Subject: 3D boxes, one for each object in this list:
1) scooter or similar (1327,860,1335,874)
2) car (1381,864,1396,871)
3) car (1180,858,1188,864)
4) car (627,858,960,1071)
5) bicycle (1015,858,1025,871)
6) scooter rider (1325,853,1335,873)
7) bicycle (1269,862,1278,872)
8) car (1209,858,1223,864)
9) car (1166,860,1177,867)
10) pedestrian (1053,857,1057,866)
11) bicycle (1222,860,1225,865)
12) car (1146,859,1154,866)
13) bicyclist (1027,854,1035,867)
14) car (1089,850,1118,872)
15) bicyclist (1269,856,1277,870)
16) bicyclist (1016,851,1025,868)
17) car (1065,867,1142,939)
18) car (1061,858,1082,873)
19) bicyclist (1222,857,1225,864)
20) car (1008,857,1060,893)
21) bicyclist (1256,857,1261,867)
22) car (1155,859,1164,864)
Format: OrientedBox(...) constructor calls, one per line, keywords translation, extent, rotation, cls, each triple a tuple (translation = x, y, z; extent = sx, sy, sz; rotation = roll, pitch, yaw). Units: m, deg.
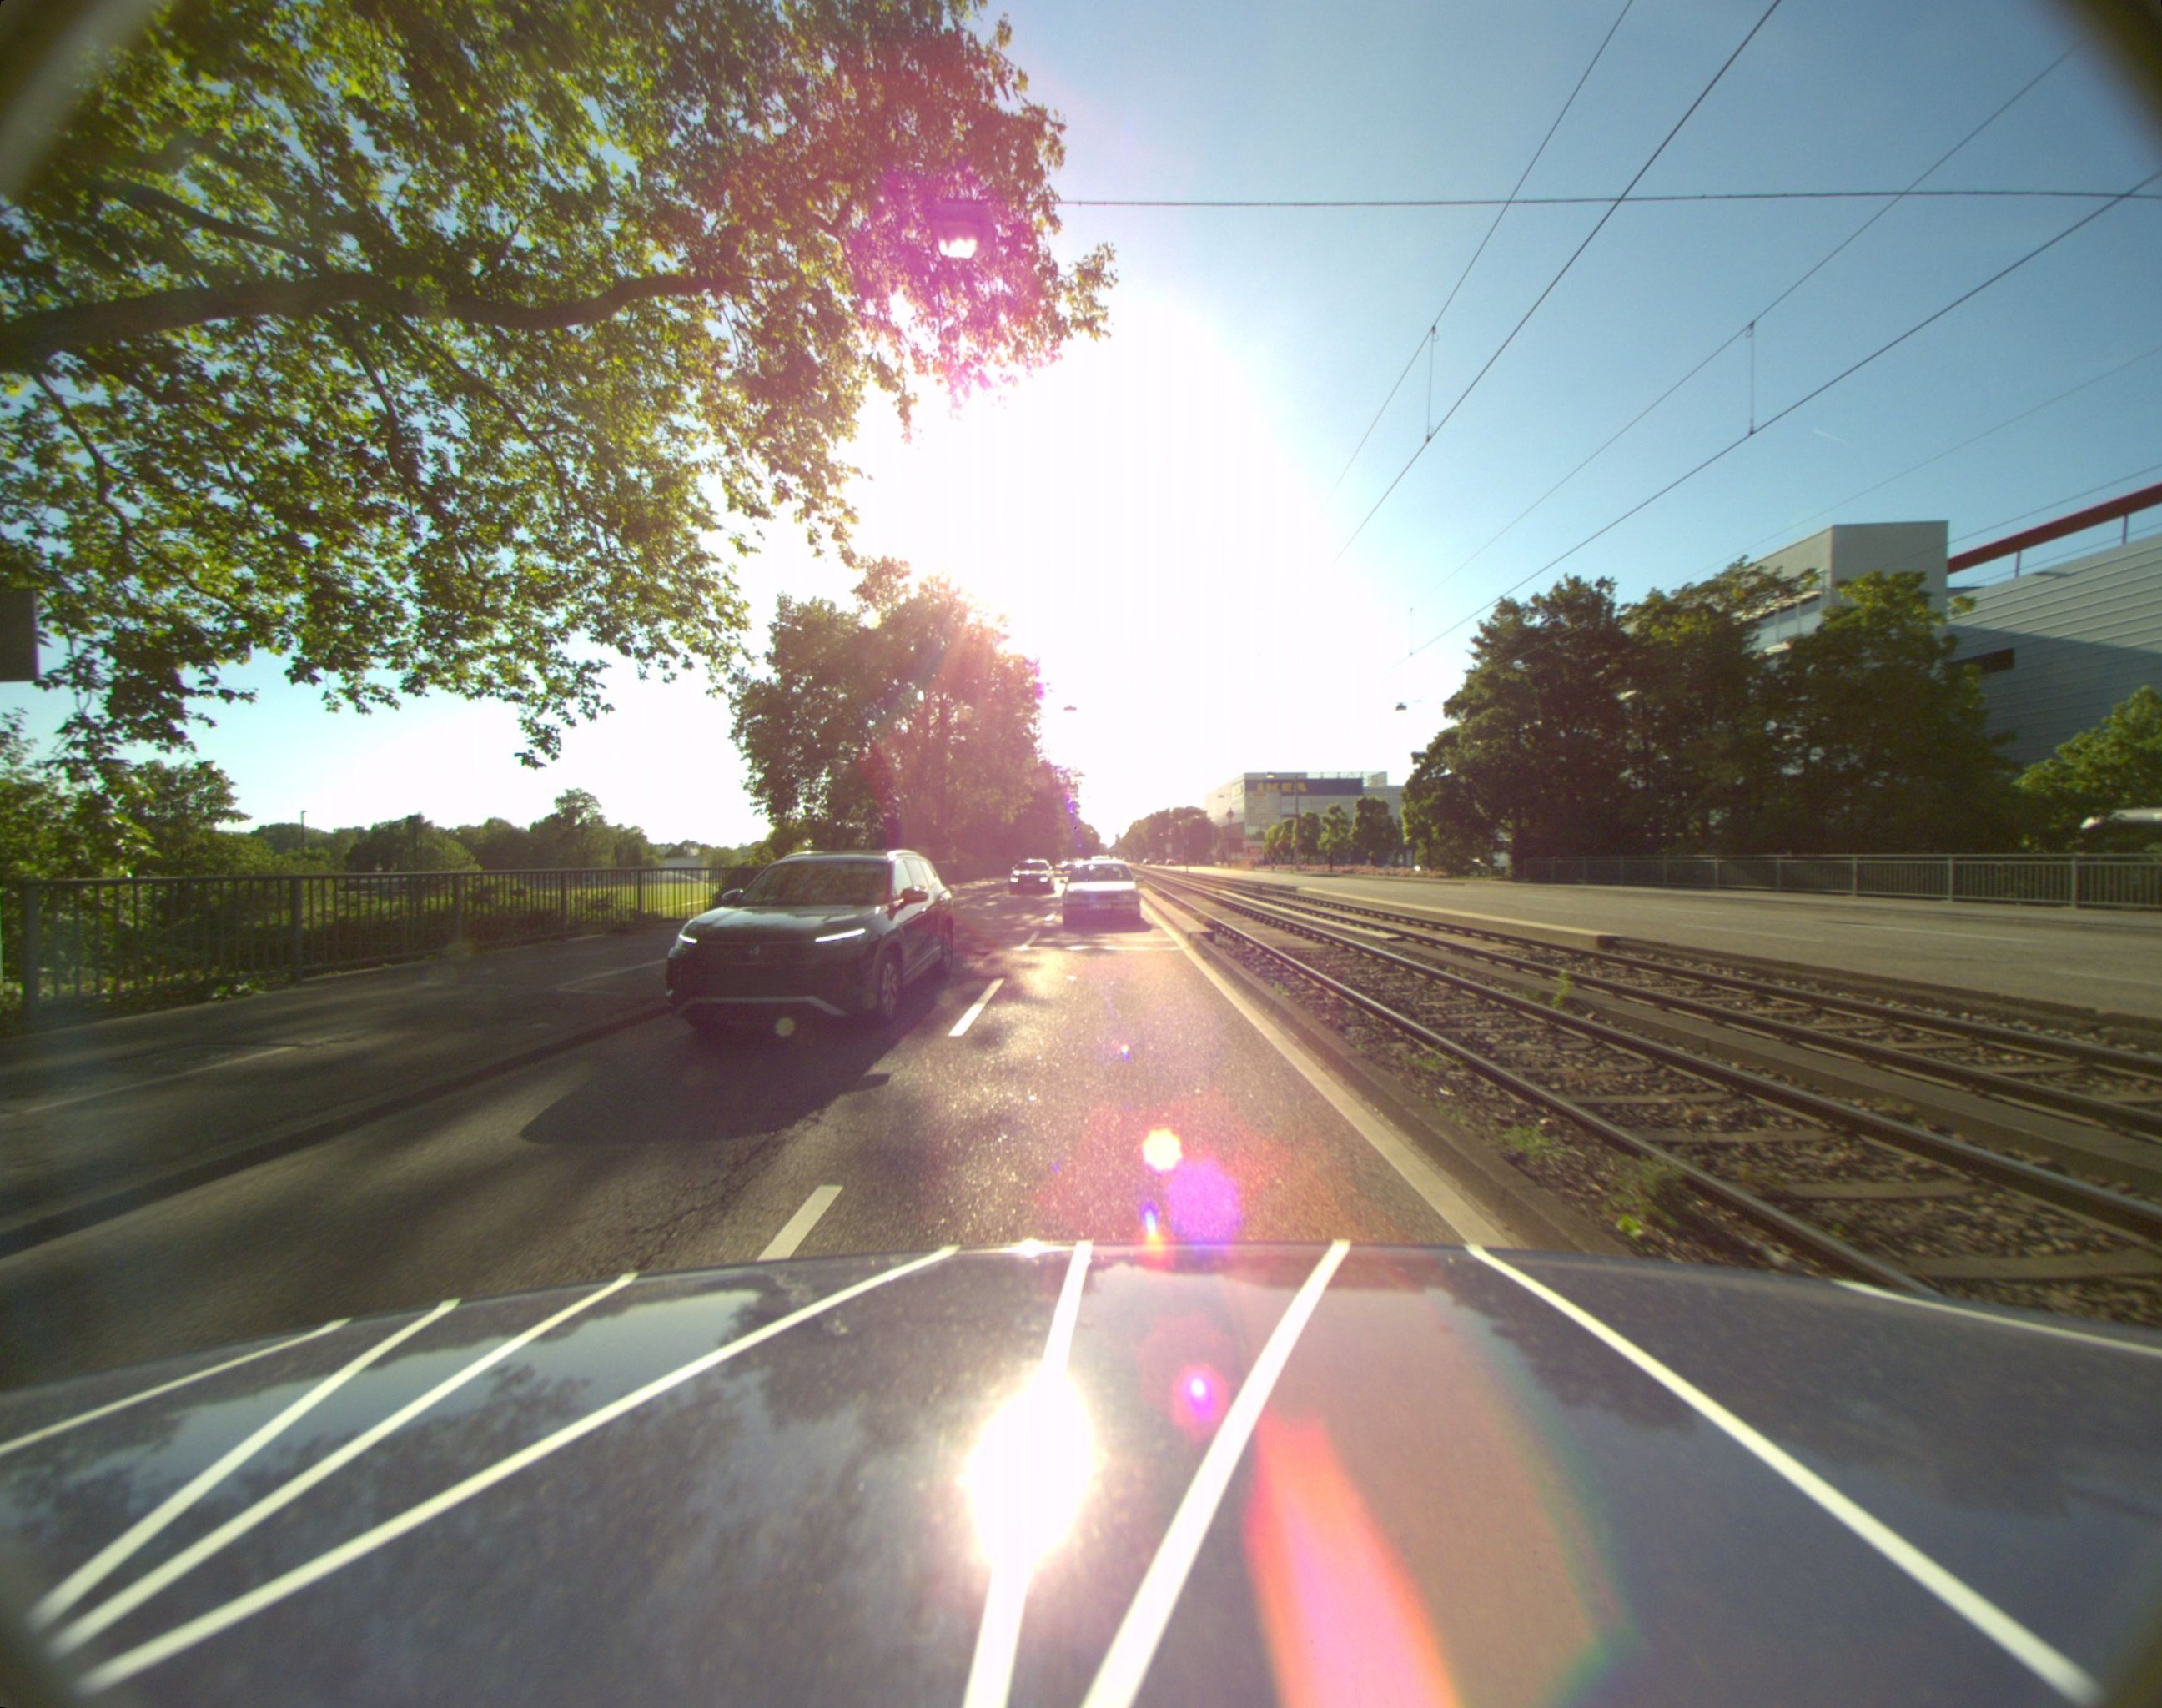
OrientedBox(translation=(23.011, 1.191, 69.999), extent=(0.473, 1.288, 1.263), rotation=(0, 0, 8), cls="scooter or similar")
OrientedBox(translation=(84.383, 3.789, 208.444), extent=(1.827, 1.789, 4.226), rotation=(-3, -1, -12), cls="car")
OrientedBox(translation=(27.935, 1.968, 205.294), extent=(1.938, 1.468, 4.135), rotation=(2, 0, 10), cls="car")
OrientedBox(translation=(-2.634, 0.892, 8.246), extent=(1.849, 1.651, 4.440), rotation=(0, 0, 1), cls="car")
OrientedBox(translation=(-5.462, 0.966, 68.081), extent=(0.623, 1.113, 1.813), rotation=(1, 0, 1), cls="bicycle")
OrientedBox(translation=(22.926, 0.796, 69.935), extent=(0.683, 1.837, 1.001), rotation=(0, 0, 9), cls="scooter rider")
OrientedBox(translation=(21.513, 1.436, 84.911), extent=(0.706, 1.067, 2.029), rotation=(-3, -1, 8), cls="bicycle")
OrientedBox(translation=(41.735, 2.117, 234.756), extent=(4.252, 1.489, 2.017), rotation=(2, 1, 6), cls="car")
OrientedBox(translation=(19.899, 2.162, 167.388), extent=(2.044, 1.494, 4.888), rotation=(0, 0, 2), cls="car")
OrientedBox(translation=(-4.813, 1.437, 139.853), extent=(0.724, 1.697, 0.813), rotation=(0, 0, 1), cls="pedestrian")
OrientedBox(translation=(33.018, 1.990, 176.272), extent=(0.662, 1.144, 2.024), rotation=(-3, -1, 11), cls="bicycle")
OrientedBox(translation=(18.232, 2.216, 201.047), extent=(1.998, 1.645, 4.659), rotation=(1, 0, 2), cls="car")
OrientedBox(translation=(-4.451, 0.585, 68.279), extent=(0.642, 1.218, 0.891), rotation=(0, 0, 1), cls="bicyclist")
OrientedBox(translation=(1.605, 0.479, 53.667), extent=(1.871, 1.422, 3.832), rotation=(-3, -1, 3), cls="car")
OrientedBox(translation=(21.498, 1.030, 84.894), extent=(0.706, 1.503, 0.971), rotation=(-3, 0, 8), cls="bicyclist")
OrientedBox(translation=(-5.456, 0.507, 68.299), extent=(0.687, 1.500, 0.891), rotation=(1, 0, 1), cls="bicyclist")
OrientedBox(translation=(0.529, 1.057, 17.829), extent=(1.602, 1.440, 3.800), rotation=(-1, 0, 2), cls="car")
OrientedBox(translation=(-0.879, 1.113, 74.499), extent=(1.856, 1.414, 3.981), rotation=(-1, -1, 1), cls="car")
OrientedBox(translation=(33.031, 1.599, 176.439), extent=(0.662, 1.614, 0.802), rotation=(-3, 0, 11), cls="bicyclist")
OrientedBox(translation=(-2.051, 0.905, 34.241), extent=(1.870, 1.458, 4.587), rotation=(-2, 0, 2), cls="car")
OrientedBox(translation=(28.697, 1.265, 122.996), extent=(0.604, 1.649, 0.963), rotation=(-3, 0, 8), cls="bicyclist")
OrientedBox(translation=(21.496, 2.037, 207.758), extent=(1.861, 1.452, 4.138), rotation=(0, -1, 0), cls="car")
